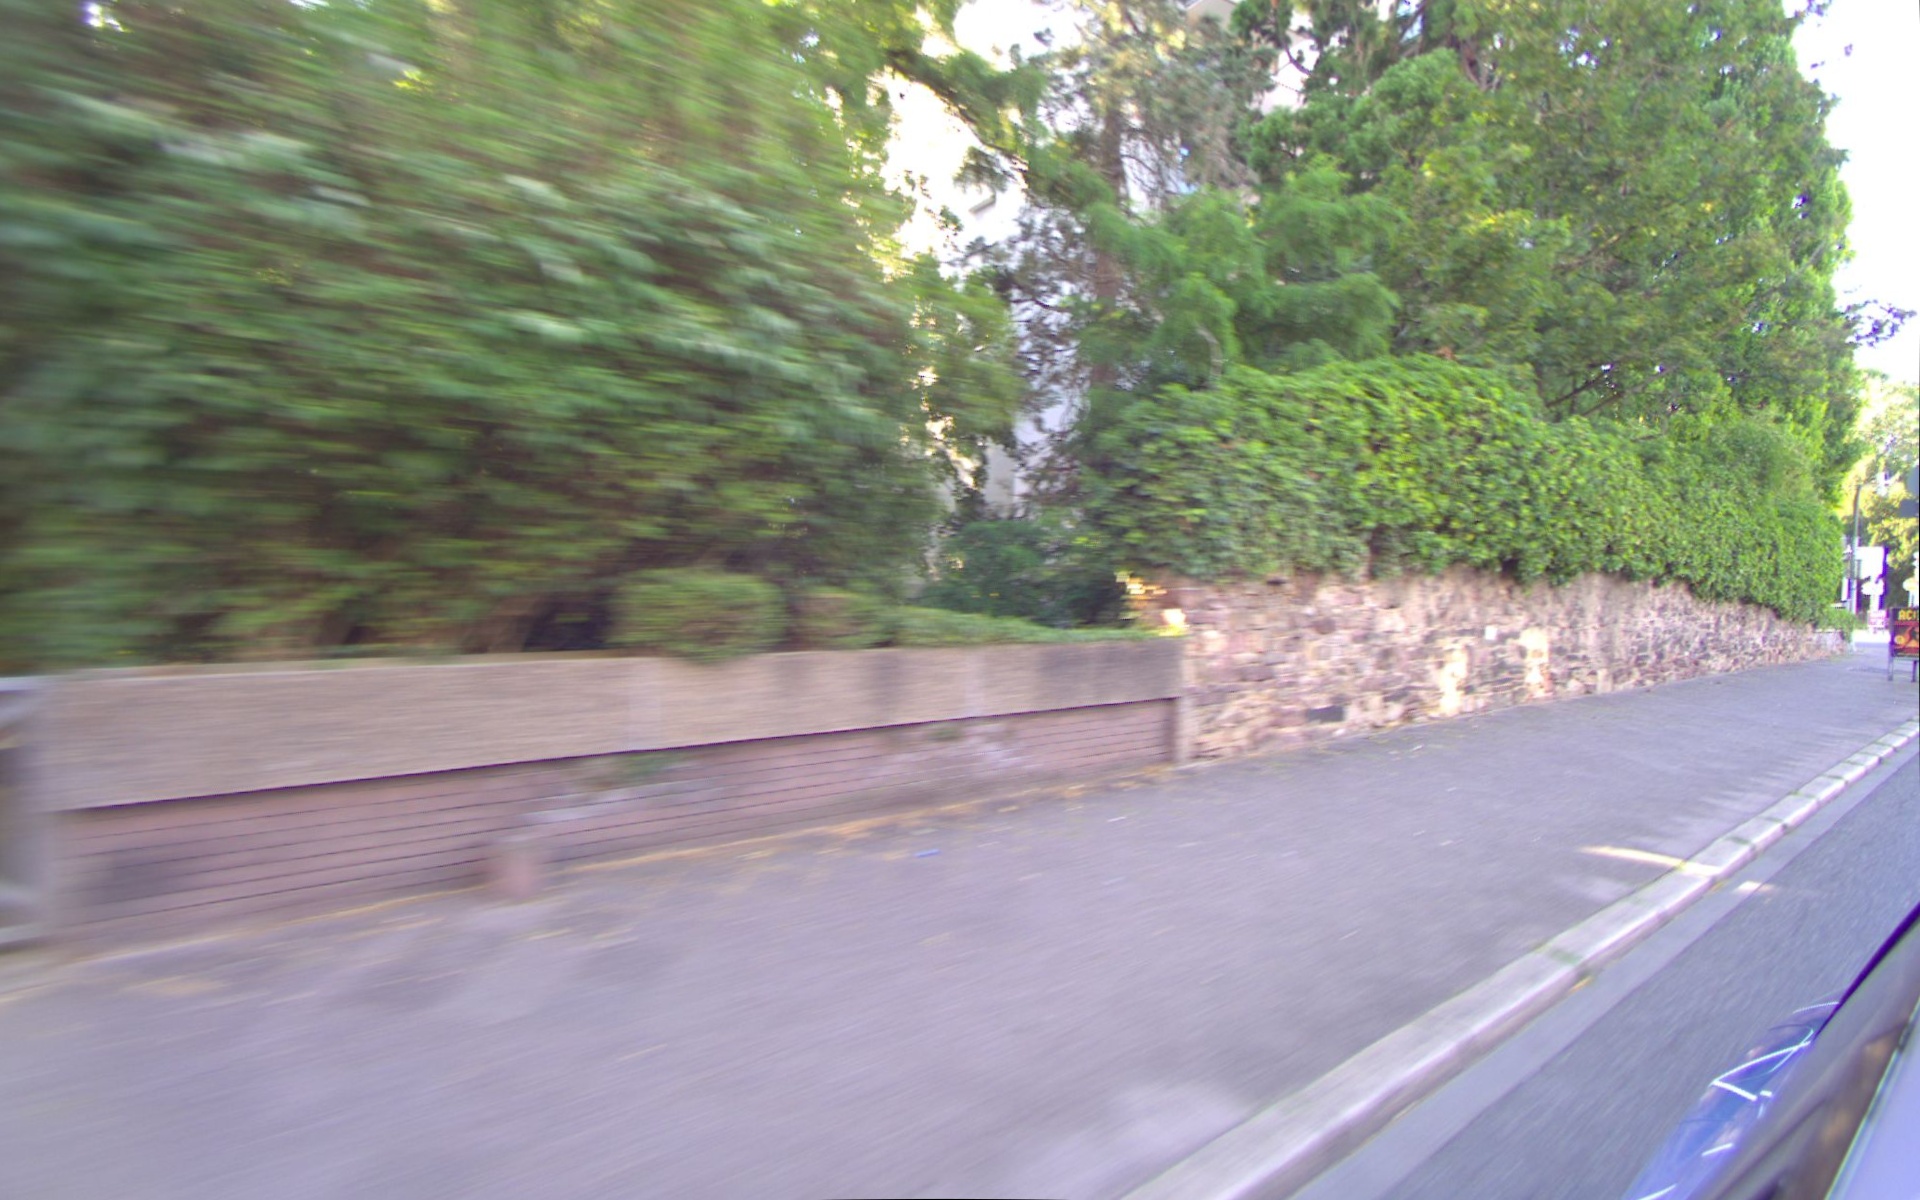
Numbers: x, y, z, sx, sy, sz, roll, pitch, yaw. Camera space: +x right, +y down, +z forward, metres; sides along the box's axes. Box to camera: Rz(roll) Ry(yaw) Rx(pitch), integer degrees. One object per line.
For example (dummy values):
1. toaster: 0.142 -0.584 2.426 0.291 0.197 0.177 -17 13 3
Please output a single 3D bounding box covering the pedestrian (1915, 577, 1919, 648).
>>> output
1. pedestrian: 23.633 0.329 24.525 0.601 1.714 0.603 2 1 -42
